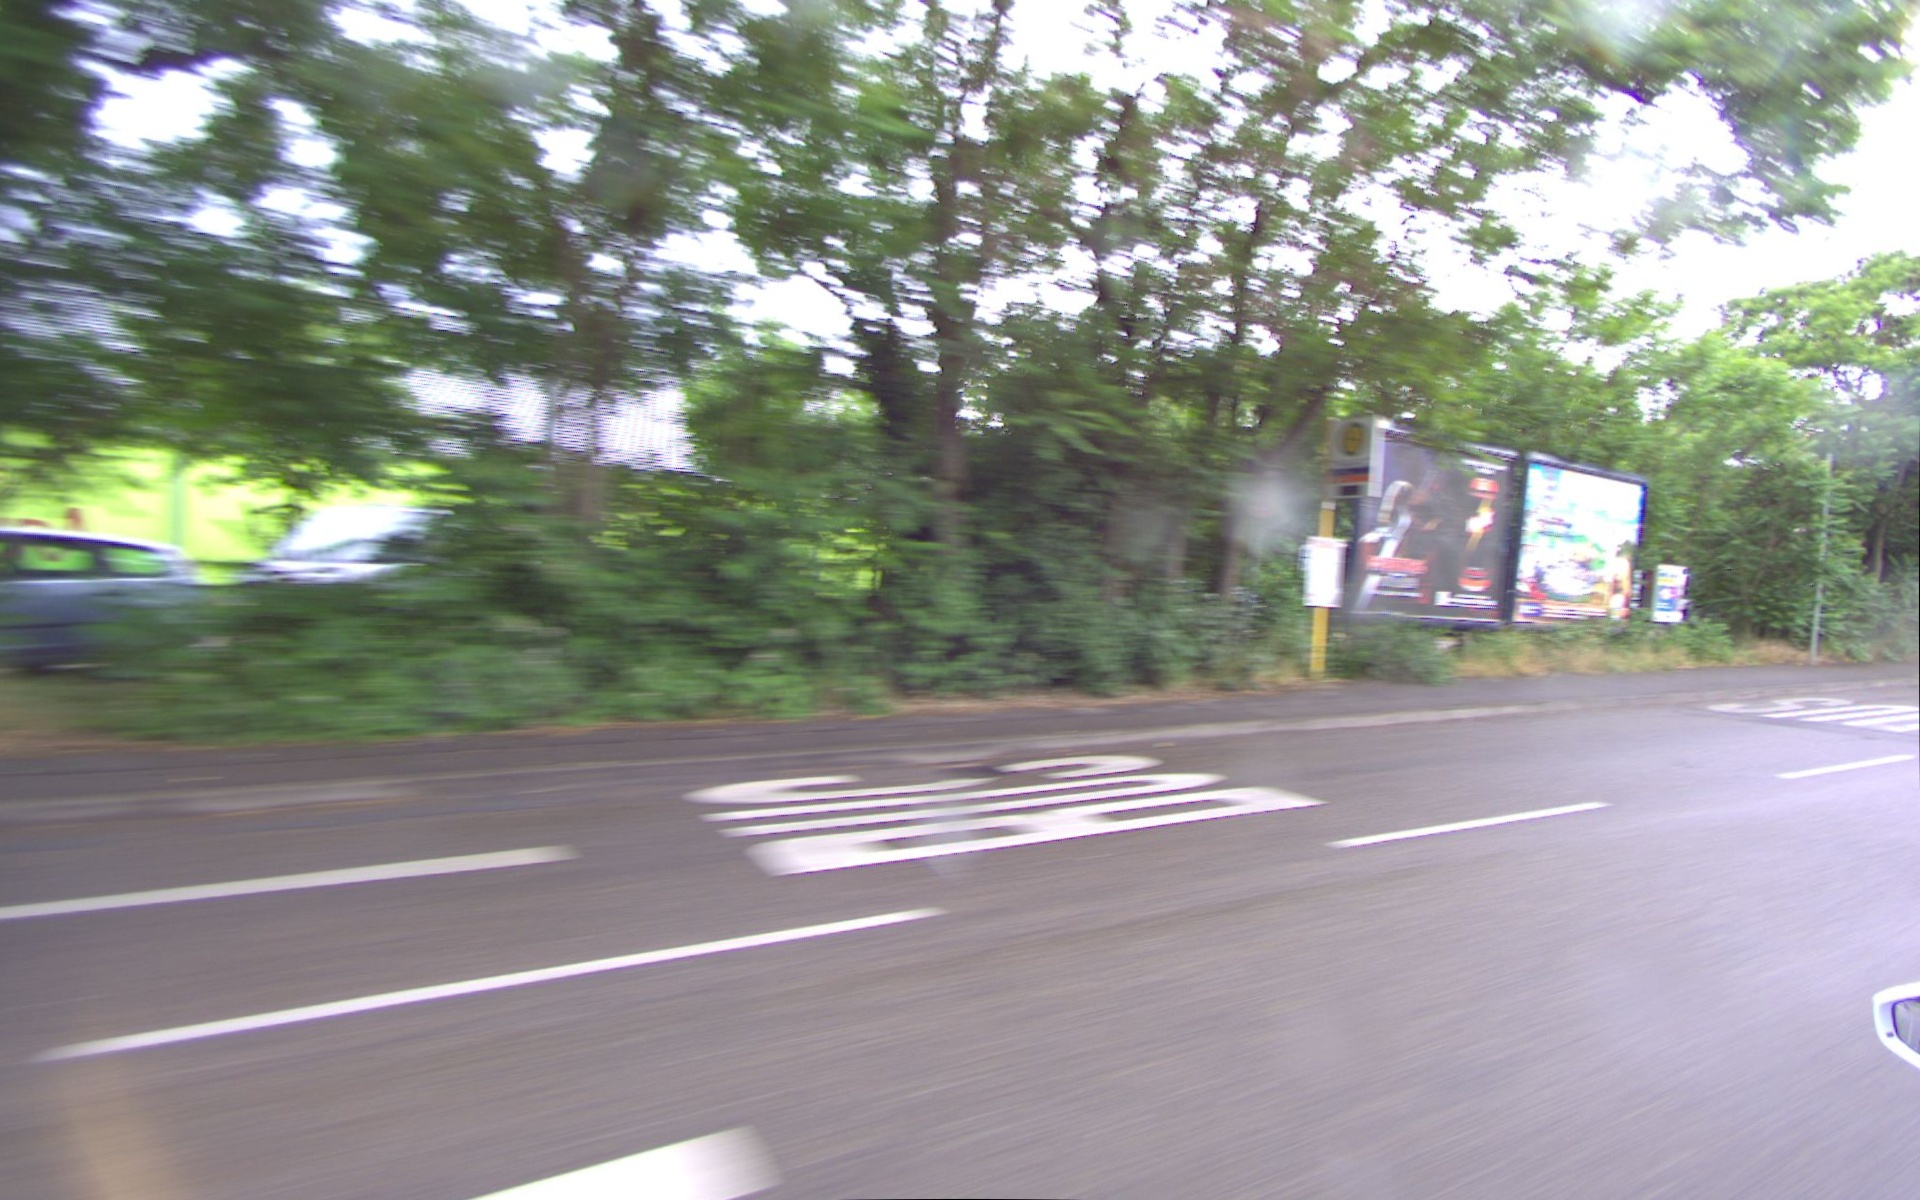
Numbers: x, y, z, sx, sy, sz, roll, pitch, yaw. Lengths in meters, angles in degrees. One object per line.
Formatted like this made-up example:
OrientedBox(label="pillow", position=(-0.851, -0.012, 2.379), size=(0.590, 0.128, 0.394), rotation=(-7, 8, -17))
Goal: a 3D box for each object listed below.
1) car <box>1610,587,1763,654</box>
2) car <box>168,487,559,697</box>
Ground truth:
OrientedBox(label="car", position=(18.719, 0.516, 25.842), size=(3.954, 1.515, 1.693), rotation=(1, 3, -31))
OrientedBox(label="car", position=(-6.609, -0.186, 11.761), size=(1.960, 1.964, 4.000), rotation=(2, 3, 4))
